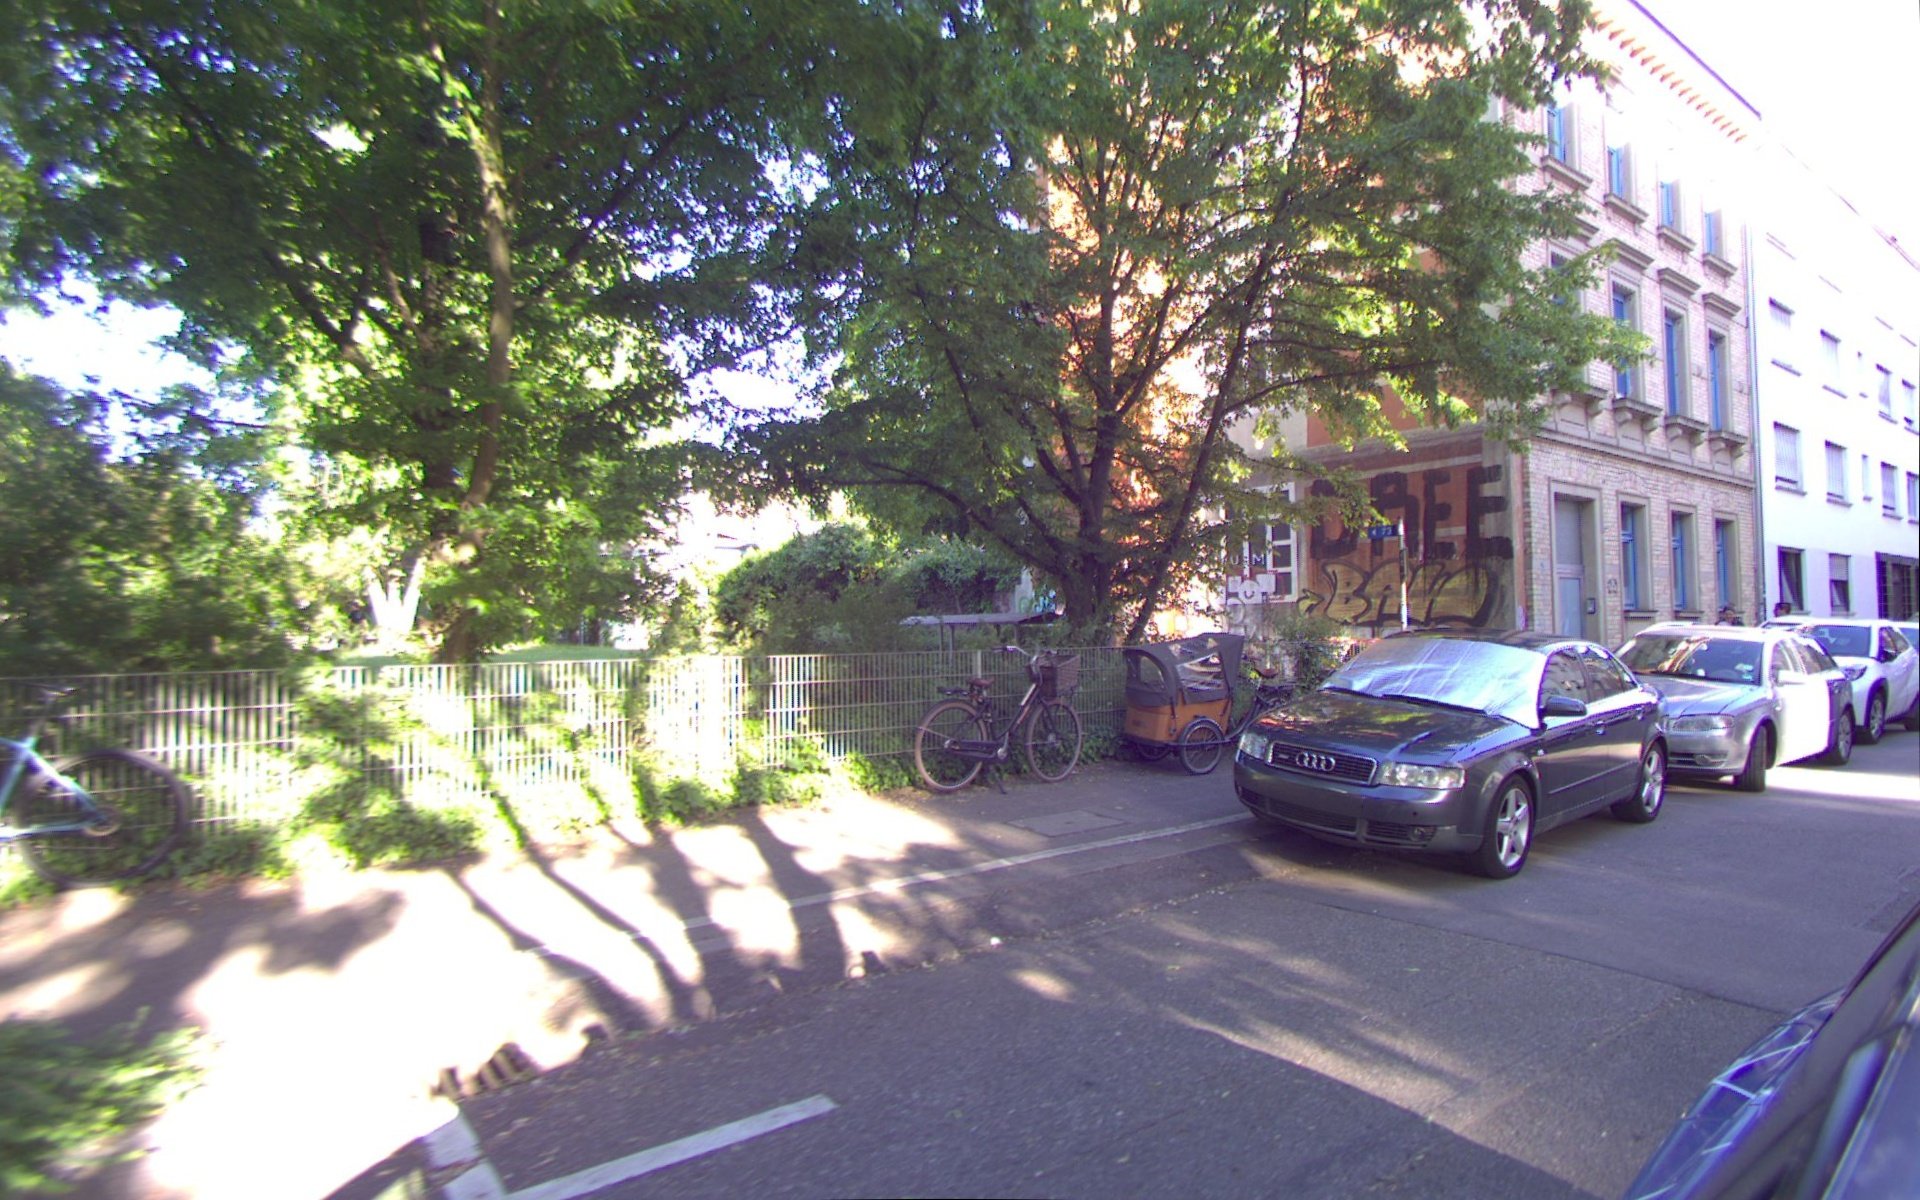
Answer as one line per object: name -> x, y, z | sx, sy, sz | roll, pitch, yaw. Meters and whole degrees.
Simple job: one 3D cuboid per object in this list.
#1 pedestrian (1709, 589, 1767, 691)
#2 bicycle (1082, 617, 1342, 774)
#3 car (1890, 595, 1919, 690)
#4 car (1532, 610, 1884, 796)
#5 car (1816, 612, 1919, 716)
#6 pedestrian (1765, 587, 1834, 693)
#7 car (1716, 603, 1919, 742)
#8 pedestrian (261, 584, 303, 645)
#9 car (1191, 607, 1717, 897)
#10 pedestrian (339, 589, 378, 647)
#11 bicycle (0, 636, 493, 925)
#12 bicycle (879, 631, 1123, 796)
pedestrian -> 13.653, 0.684, 17.762 | 0.693, 1.730, 0.599 | 0, 1, -37
bicycle -> 2.510, 0.851, 10.021 | 2.281, 1.318, 1.295 | 0, 0, -34
car -> 19.015, 0.758, 18.731 | 4.245, 1.688, 1.771 | 0, -1, -35
car -> 7.715, 0.878, 10.302 | 4.271, 1.513, 1.663 | 0, -1, -36
car -> 15.126, 0.941, 16.090 | 3.930, 1.469, 1.597 | 0, 0, -39
pedestrian -> 14.223, 0.649, 17.146 | 0.738, 1.730, 0.712 | 0, 1, -37
car -> 11.710, 0.852, 13.515 | 3.693, 1.605, 1.598 | 0, 0, -37
pedestrian -> -23.076, 0.483, 34.452 | 0.897, 2.039, 0.747 | 0, -1, 11
car -> 3.775, 0.818, 7.394 | 4.332, 1.513, 1.725 | 0, 0, -38
pedestrian -> -21.383, 0.636, 35.986 | 0.897, 2.039, 0.747 | 0, -1, 11
bicycle -> -4.010, 0.856, 5.408 | 2.640, 1.284, 0.849 | 1, -2, -35
bicycle -> 0.372, 0.886, 8.551 | 1.943, 1.216, 0.849 | 1, -2, -35
